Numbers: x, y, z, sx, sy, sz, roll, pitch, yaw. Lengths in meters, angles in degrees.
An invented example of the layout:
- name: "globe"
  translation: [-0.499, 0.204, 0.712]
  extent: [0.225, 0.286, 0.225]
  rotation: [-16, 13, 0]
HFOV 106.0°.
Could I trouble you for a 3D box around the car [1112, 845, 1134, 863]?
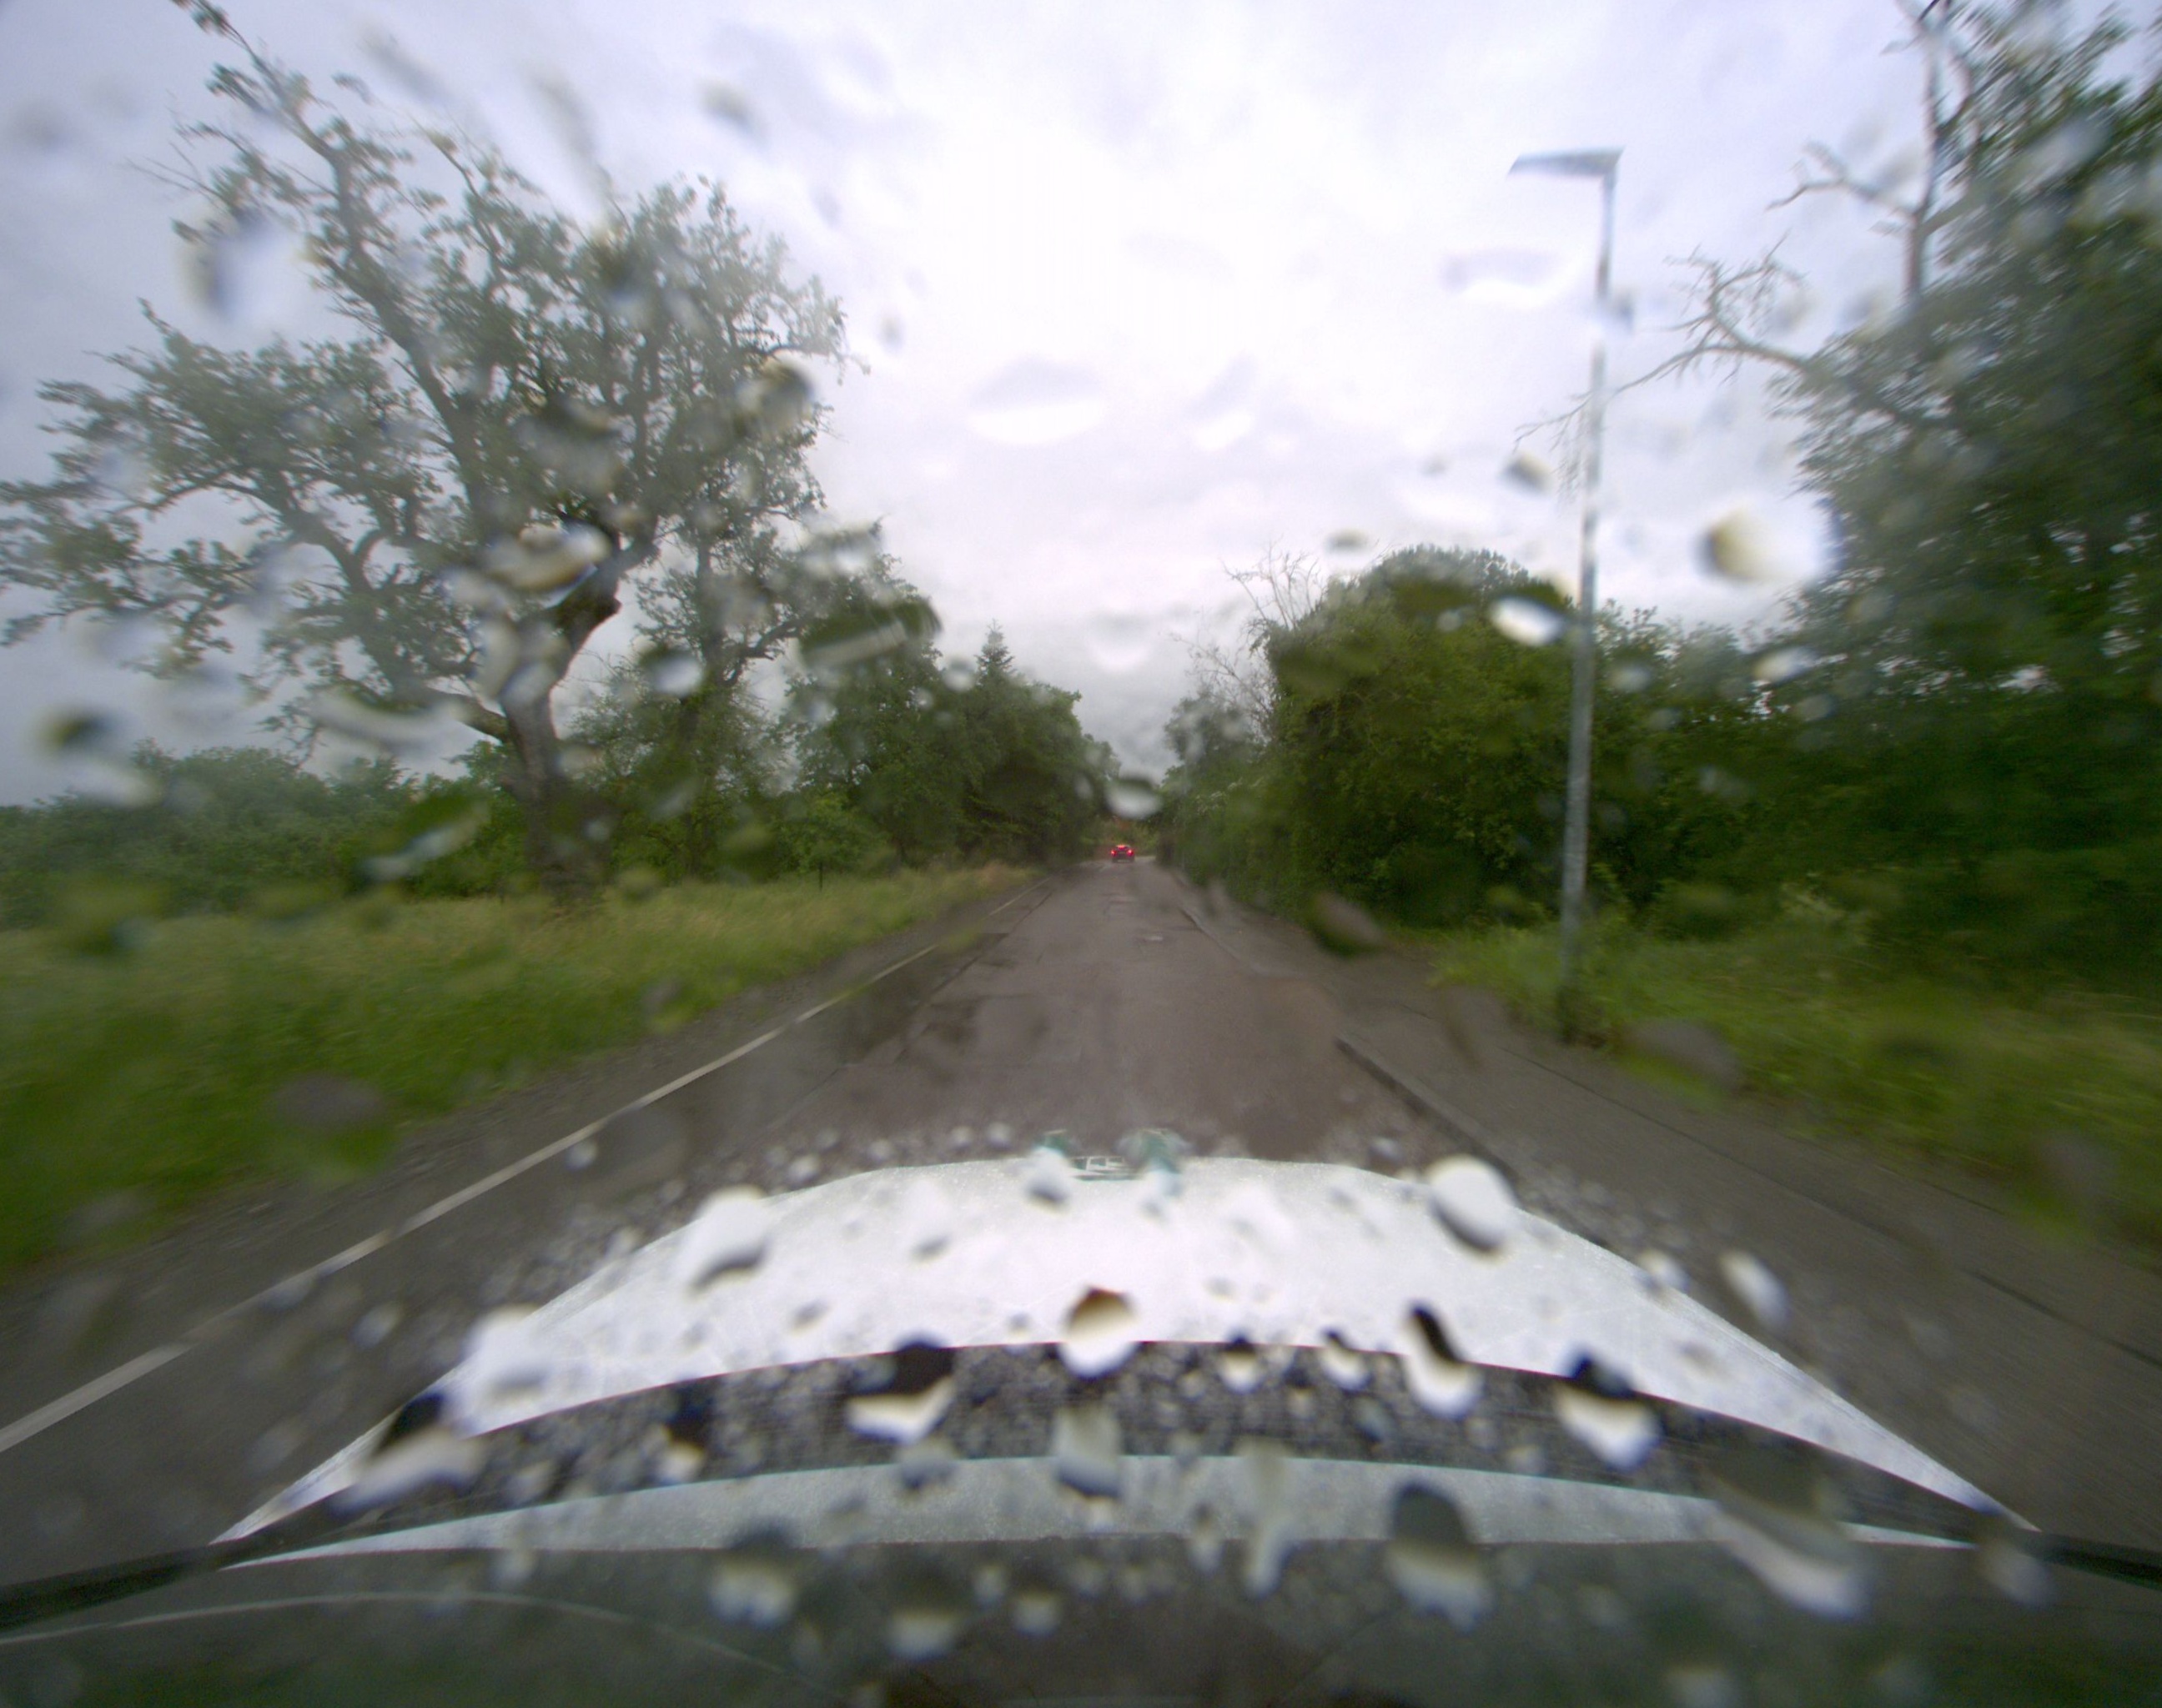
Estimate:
- name: "car"
  translation: [3.620, 0.037, 69.790]
  extent: [1.625, 1.450, 3.552]
  rotation: [0, -1, 8]
